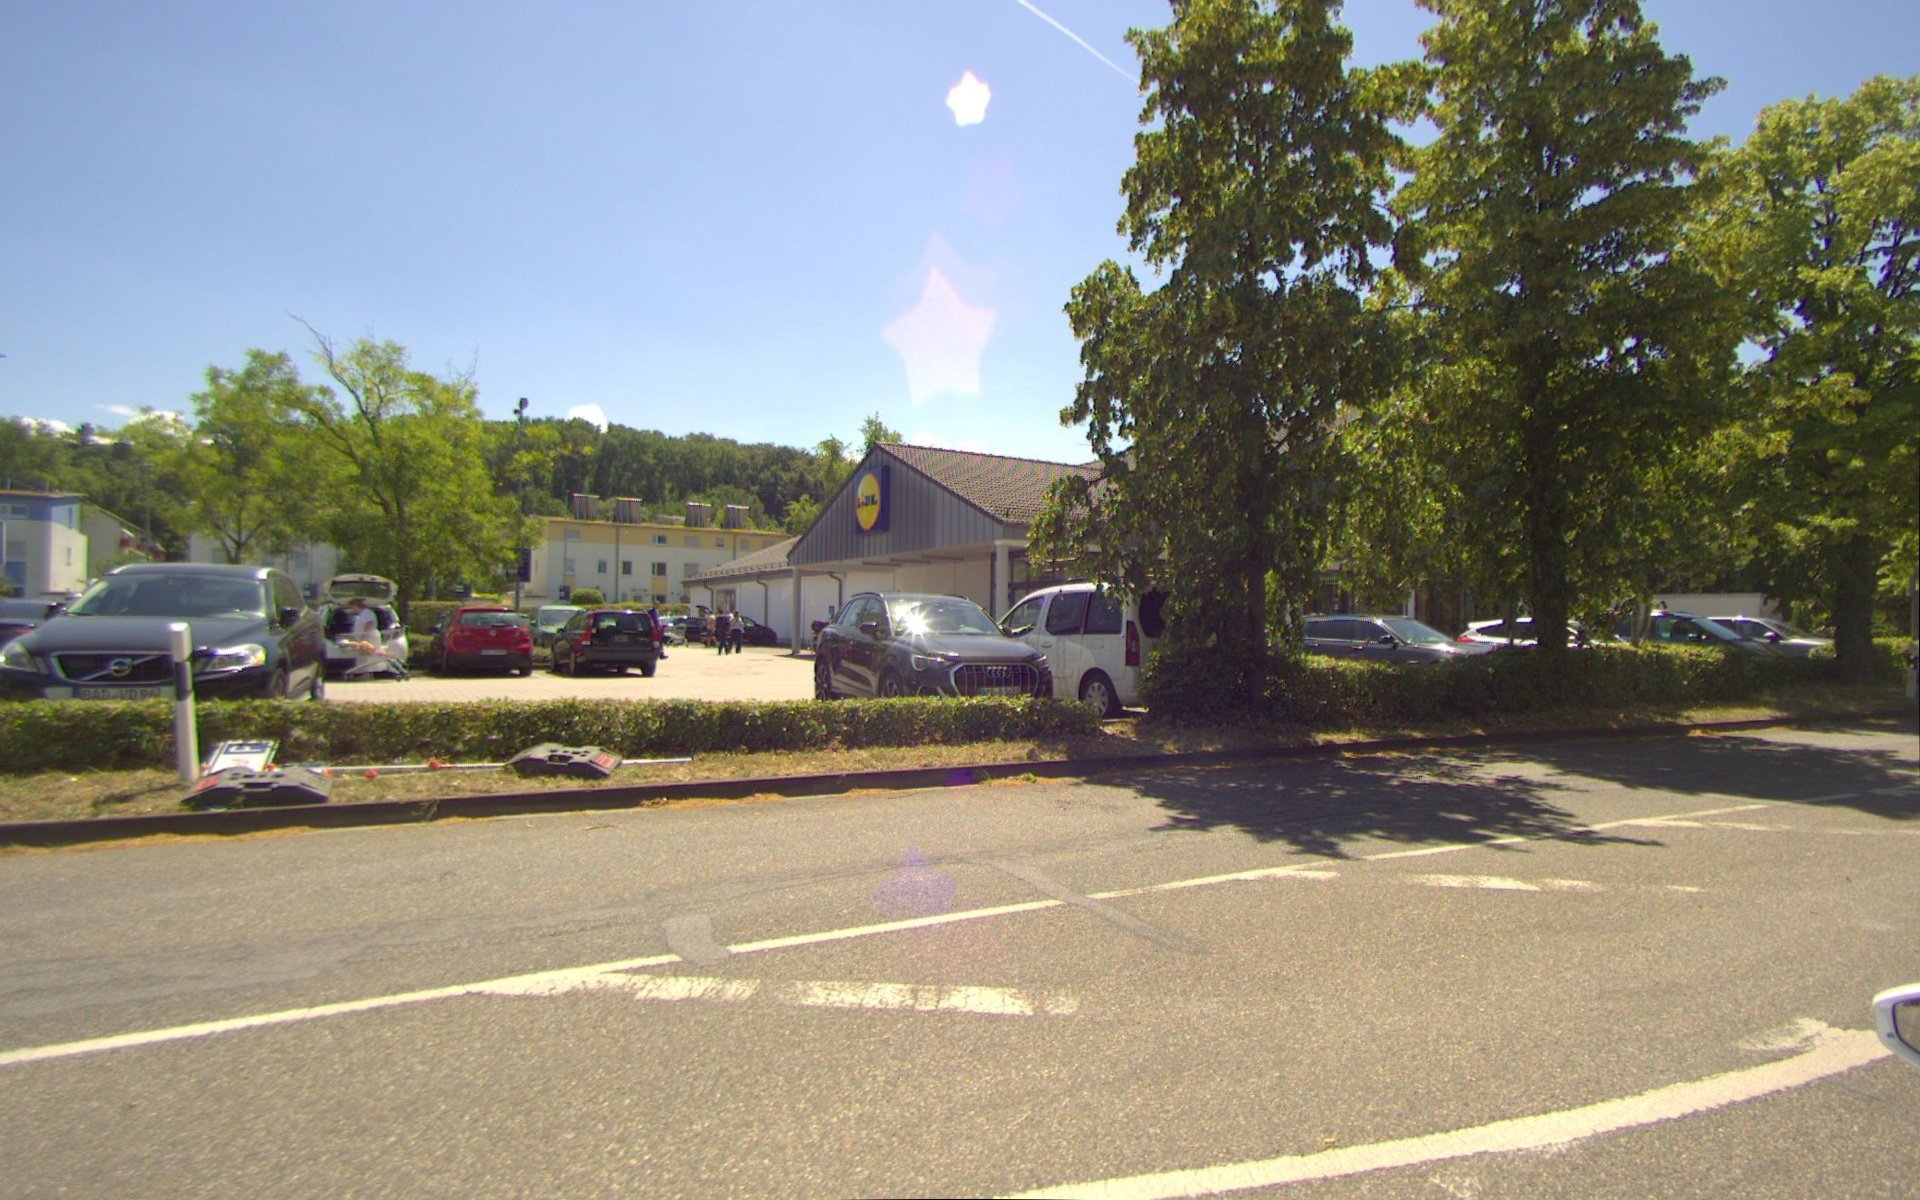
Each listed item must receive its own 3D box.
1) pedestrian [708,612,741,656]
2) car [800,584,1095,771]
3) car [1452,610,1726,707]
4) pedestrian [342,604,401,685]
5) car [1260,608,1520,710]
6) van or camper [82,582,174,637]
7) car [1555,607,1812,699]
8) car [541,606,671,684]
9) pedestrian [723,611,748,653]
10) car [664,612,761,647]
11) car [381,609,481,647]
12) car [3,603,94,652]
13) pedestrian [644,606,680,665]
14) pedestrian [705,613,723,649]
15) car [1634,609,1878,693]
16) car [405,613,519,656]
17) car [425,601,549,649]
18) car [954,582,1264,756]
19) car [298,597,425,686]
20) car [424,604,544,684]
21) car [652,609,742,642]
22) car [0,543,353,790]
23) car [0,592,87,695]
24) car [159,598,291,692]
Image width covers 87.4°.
[{"bbox_3d":[-8.487,1.213,36.224,0.787,1.534,0.795,1,0,41],"label":"pedestrian"},{"bbox_3d":[-0.381,0.798,12.463,2.074,1.869,4.373,2,-1,-24],"label":"car"},{"bbox_3d":[12.680,1.103,20.565,1.873,1.642,4.378,1,0,-31],"label":"car"},{"bbox_3d":[-11.326,0.849,19.325,0.882,1.503,0.800,2,0,-35],"label":"pedestrian"},{"bbox_3d":[7.725,0.989,18.400,1.912,1.545,4.008,1,0,-31],"label":"car"},{"bbox_3d":[-31.561,0.345,38.231,1.987,1.962,4.339,2,-1,-31],"label":"van or camper"},{"bbox_3d":[16.633,1.147,23.340,2.049,1.800,4.378,1,0,-31],"label":"car"},{"bbox_3d":[-8.231,0.974,23.119,1.809,1.550,4.286,2,-1,-33],"label":"car"},{"bbox_3d":[-8.462,1.202,37.845,0.670,1.534,0.628,2,0,-36],"label":"pedestrian"},{"bbox_3d":[-11.694,1.391,47.428,4.089,1.552,1.811,2,-1,-30],"label":"car"},{"bbox_3d":[-24.277,1.282,46.118,3.955,1.623,1.784,2,0,-32],"label":"car"},{"bbox_3d":[-28.440,0.835,31.443,1.754,1.387,4.203,2,-1,-38],"label":"car"},{"bbox_3d":[-9.496,1.127,31.993,0.739,1.830,0.771,2,0,28],"label":"pedestrian"},{"bbox_3d":[-11.159,1.403,45.483,0.626,1.601,0.672,2,0,-27],"label":"pedestrian"},{"bbox_3d":[19.927,1.207,25.346,2.049,1.800,4.378,1,0,-31],"label":"car"},{"bbox_3d":[-19.975,1.381,40.295,3.954,1.623,1.784,2,0,-31],"label":"car"},{"bbox_3d":[-17.338,0.927,36.847,3.954,1.623,1.784,2,0,-31],"label":"car"},{"bbox_3d":[1.863,0.809,13.945,1.884,2.006,4.332,2,-1,-32],"label":"car"},{"bbox_3d":[-12.893,0.810,21.520,2.092,1.677,4.286,2,-1,-34],"label":"car"},{"bbox_3d":[-10.717,0.925,22.444,1.809,1.550,4.286,2,-1,-33],"label":"car"},{"bbox_3d":[-13.345,1.291,50.974,4.089,1.552,1.811,2,-1,-30],"label":"car"},{"bbox_3d":[-7.358,0.490,9.682,2.070,1.785,4.693,2,-1,-26],"label":"car"},{"bbox_3d":[-16.547,0.682,17.485,1.754,1.610,4.203,2,-1,-38],"label":"car"},{"bbox_3d":[-14.552,0.815,19.842,1.896,1.627,4.279,2,-1,-38],"label":"car"}]
